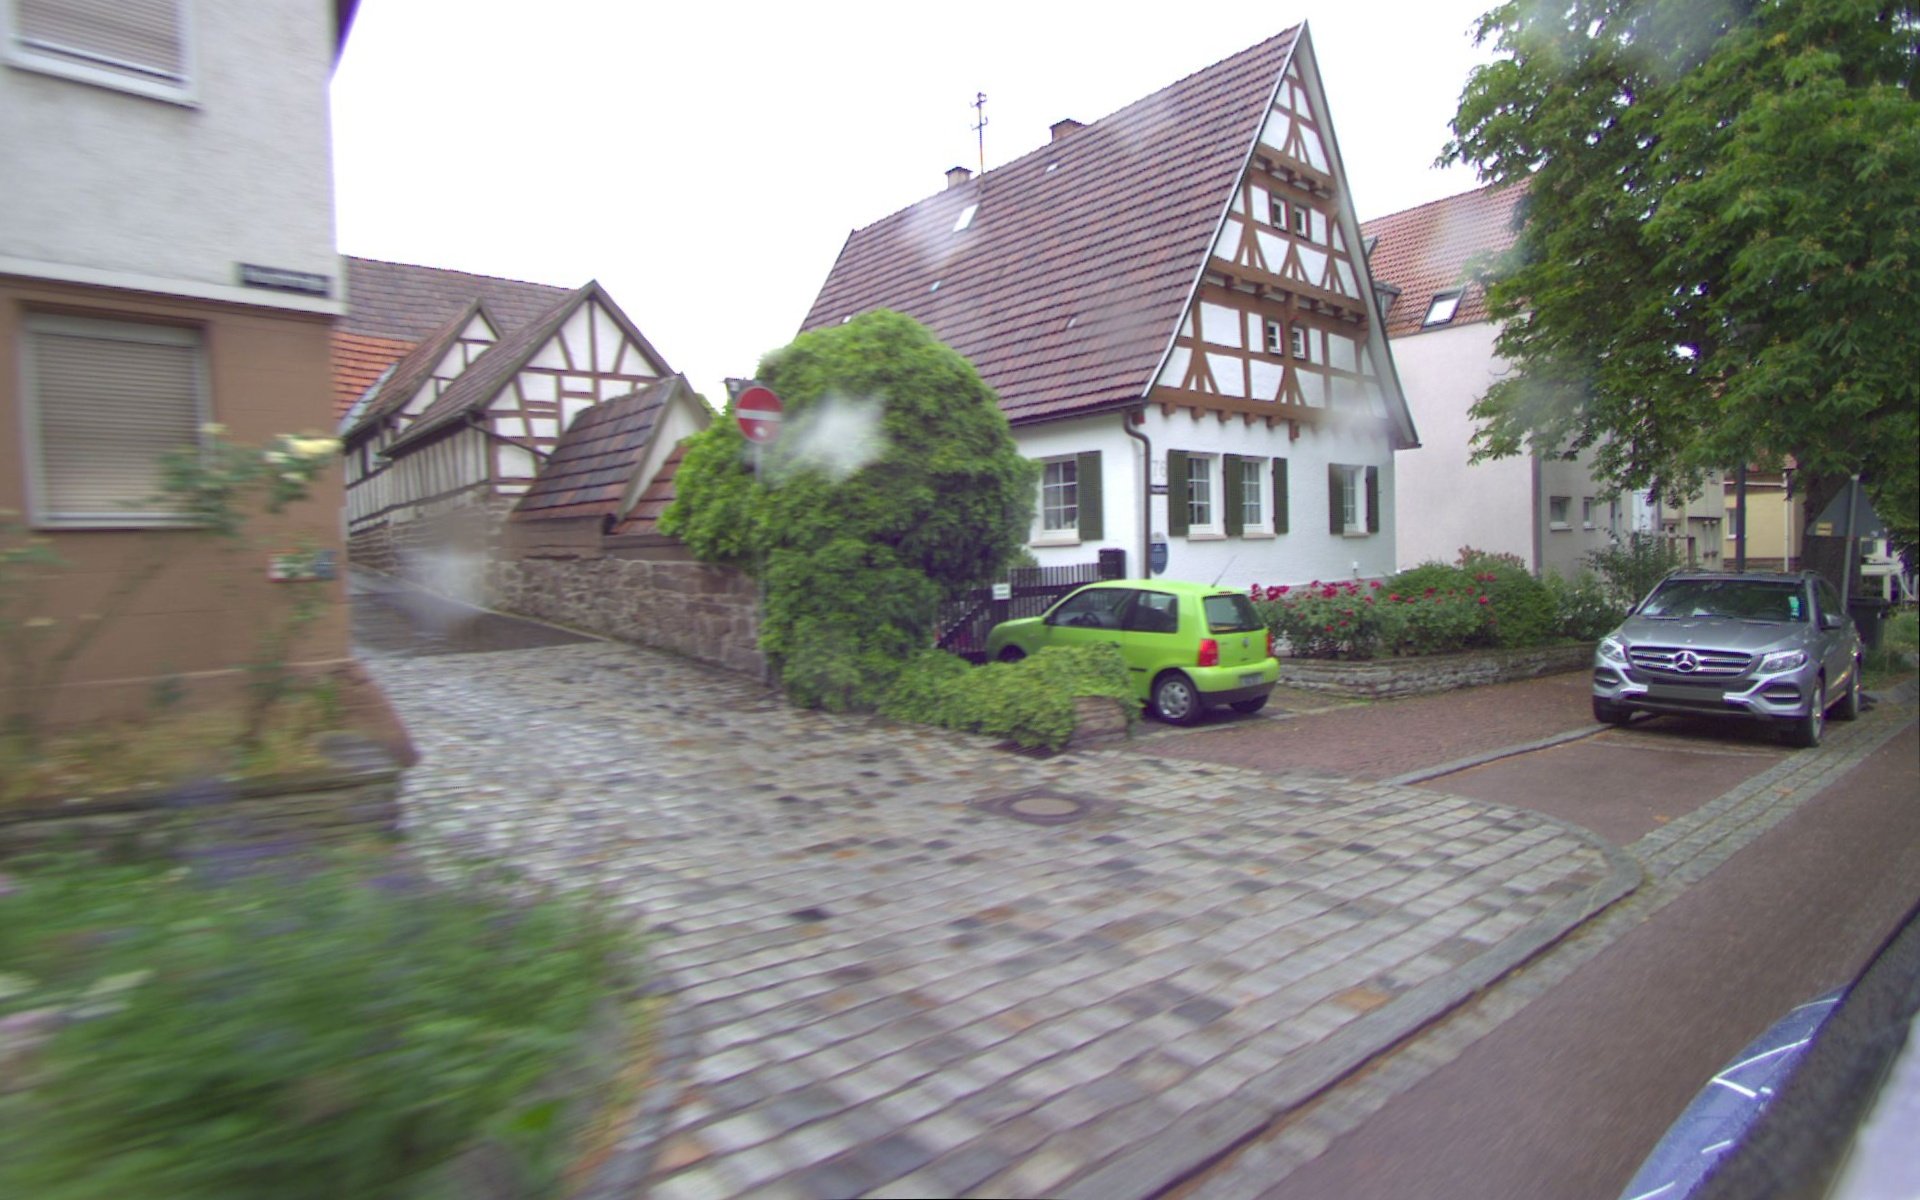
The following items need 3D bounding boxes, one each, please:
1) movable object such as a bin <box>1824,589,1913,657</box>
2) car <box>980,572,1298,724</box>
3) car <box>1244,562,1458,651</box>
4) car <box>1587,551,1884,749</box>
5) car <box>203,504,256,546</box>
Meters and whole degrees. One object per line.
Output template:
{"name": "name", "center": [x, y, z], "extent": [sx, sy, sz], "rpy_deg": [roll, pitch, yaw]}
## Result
{"name": "movable object such as a bin", "center": [19.049, 0.451, 21.227], "extent": [1.113, 1.331, 1.228], "rpy_deg": [-1, 2, -38]}
{"name": "car", "center": [1.986, 0.438, 11.824], "extent": [1.604, 1.448, 3.368], "rpy_deg": [-1, 3, -44]}
{"name": "car", "center": [9.580, 0.200, 25.069], "extent": [1.966, 1.924, 4.466], "rpy_deg": [-1, -2, -41]}
{"name": "car", "center": [8.929, 0.431, 11.505], "extent": [4.411, 1.815, 1.917], "rpy_deg": [-1, 1, -42]}
{"name": "car", "center": [-30.494, -3.144, 42.226], "extent": [1.683, 1.655, 3.664], "rpy_deg": [-3, 6, -37]}
